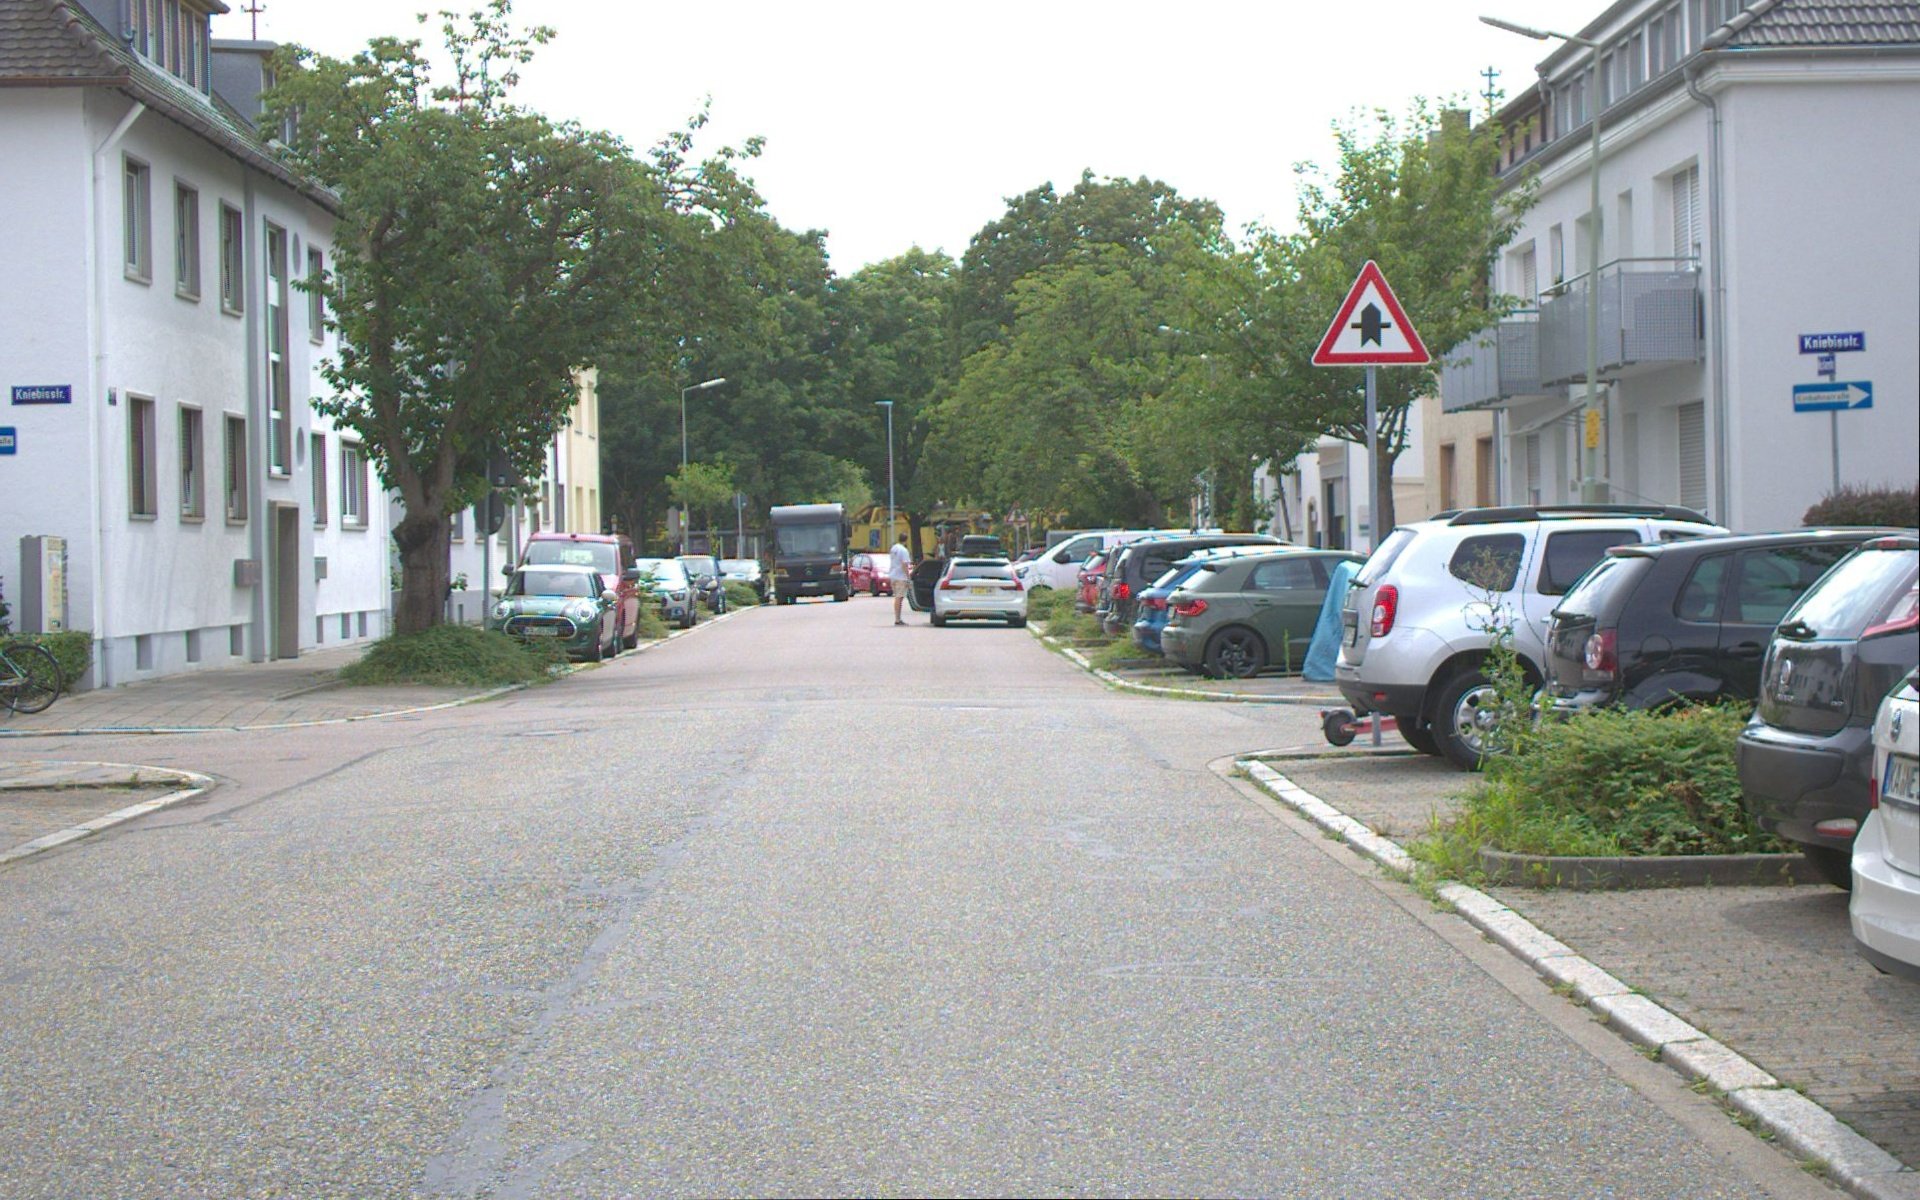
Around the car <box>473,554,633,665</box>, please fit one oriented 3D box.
[{"bbox_3d":[-6.215,0.115,52.867,1.763,1.549,3.730,-3,1,3],"label":"car"}]

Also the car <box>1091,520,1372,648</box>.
[{"bbox_3d":[3.779,-0.233,48.328,3.747,1.559,1.773,-3,1,1],"label":"car"}]

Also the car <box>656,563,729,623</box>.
[{"bbox_3d":[-6.276,-0.183,80.976,1.538,1.297,3.722,-3,1,-3],"label":"car"}]

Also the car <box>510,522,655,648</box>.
[{"bbox_3d":[-6.355,-0.281,58.319,1.993,2.007,4.521,-1,1,-1],"label":"car"}]

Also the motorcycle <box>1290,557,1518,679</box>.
[{"bbox_3d":[4.573,0.174,35.537,2.193,1.206,0.940,-1,1,-2],"label":"motorcycle"}]

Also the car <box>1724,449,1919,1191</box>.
[{"bbox_3d":[4.421,0.363,8.411,4.614,1.658,1.892,-3,1,1],"label":"car"}]

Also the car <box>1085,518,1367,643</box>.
[{"bbox_3d":[3.911,-0.303,51.081,3.987,1.612,1.867,-3,1,1],"label":"car"}]

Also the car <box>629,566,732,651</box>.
[{"bbox_3d":[-5.253,0.134,64.996,1.651,1.456,3.552,-3,1,-1],"label":"car"}]

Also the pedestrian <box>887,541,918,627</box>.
[{"bbox_3d":[-1.158,-0.317,69.281,0.522,1.698,0.444,-3,1,3],"label":"pedestrian"}]

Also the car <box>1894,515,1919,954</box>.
[{"bbox_3d":[5.248,0.368,10.984,3.987,1.503,1.712,-3,1,0],"label":"car"}]

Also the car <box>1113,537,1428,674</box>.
[{"bbox_3d":[3.631,0.049,40.609,3.517,1.407,1.559,-3,1,0],"label":"car"}]

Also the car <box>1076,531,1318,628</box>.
[{"bbox_3d":[4.053,-0.356,59.231,3.987,1.434,1.723,-3,1,0],"label":"car"}]

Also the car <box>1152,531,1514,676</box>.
[{"bbox_3d":[4.068,0.027,37.947,3.747,1.361,1.773,-3,1,1],"label":"car"}]

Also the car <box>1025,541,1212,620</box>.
[{"bbox_3d":[3.486,-0.442,76.137,3.987,1.513,1.723,-3,1,0],"label":"car"}]

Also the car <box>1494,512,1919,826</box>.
[{"bbox_3d":[4.872,0.267,17.443,3.987,1.417,1.712,-3,1,0],"label":"car"}]

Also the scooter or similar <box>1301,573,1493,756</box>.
[{"bbox_3d":[3.140,0.455,24.716,1.238,1.239,0.422,-3,1,-13],"label":"scooter or similar"}]

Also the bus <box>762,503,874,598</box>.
[{"bbox_3d":[-4.466,-1.573,109.748,3.004,2.751,8.924,-3,1,0],"label":"bus"}]

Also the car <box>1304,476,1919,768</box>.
[{"bbox_3d":[4.321,0.119,22.361,3.924,1.627,1.868,-3,1,1],"label":"car"}]

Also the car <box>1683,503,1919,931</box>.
[{"bbox_3d":[4.965,0.312,13.102,3.987,1.503,1.712,-3,1,0],"label":"car"}]

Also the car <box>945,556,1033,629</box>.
[{"bbox_3d":[0.596,-0.176,70.044,1.687,1.349,3.826,-3,1,1],"label":"car"}]

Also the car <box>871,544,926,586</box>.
[{"bbox_3d":[-2.076,-1.203,116.940,1.754,1.337,4.000,-2,1,0],"label":"car"}]

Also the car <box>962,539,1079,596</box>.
[{"bbox_3d":[1.877,-1.018,107.326,3.530,1.597,1.773,-3,1,1],"label":"car"}]

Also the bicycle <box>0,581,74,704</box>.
[{"bbox_3d":[-9.649,0.442,33.936,1.633,1.175,0.435,-3,1,-4],"label":"bicycle"}]

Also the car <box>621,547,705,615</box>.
[{"bbox_3d":[-6.532,-0.436,75.911,1.651,1.372,3.722,-3,1,-3],"label":"car"}]

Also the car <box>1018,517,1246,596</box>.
[{"bbox_3d":[3.897,-0.997,78.332,4.974,1.513,1.769,-3,1,-2],"label":"car"}]
